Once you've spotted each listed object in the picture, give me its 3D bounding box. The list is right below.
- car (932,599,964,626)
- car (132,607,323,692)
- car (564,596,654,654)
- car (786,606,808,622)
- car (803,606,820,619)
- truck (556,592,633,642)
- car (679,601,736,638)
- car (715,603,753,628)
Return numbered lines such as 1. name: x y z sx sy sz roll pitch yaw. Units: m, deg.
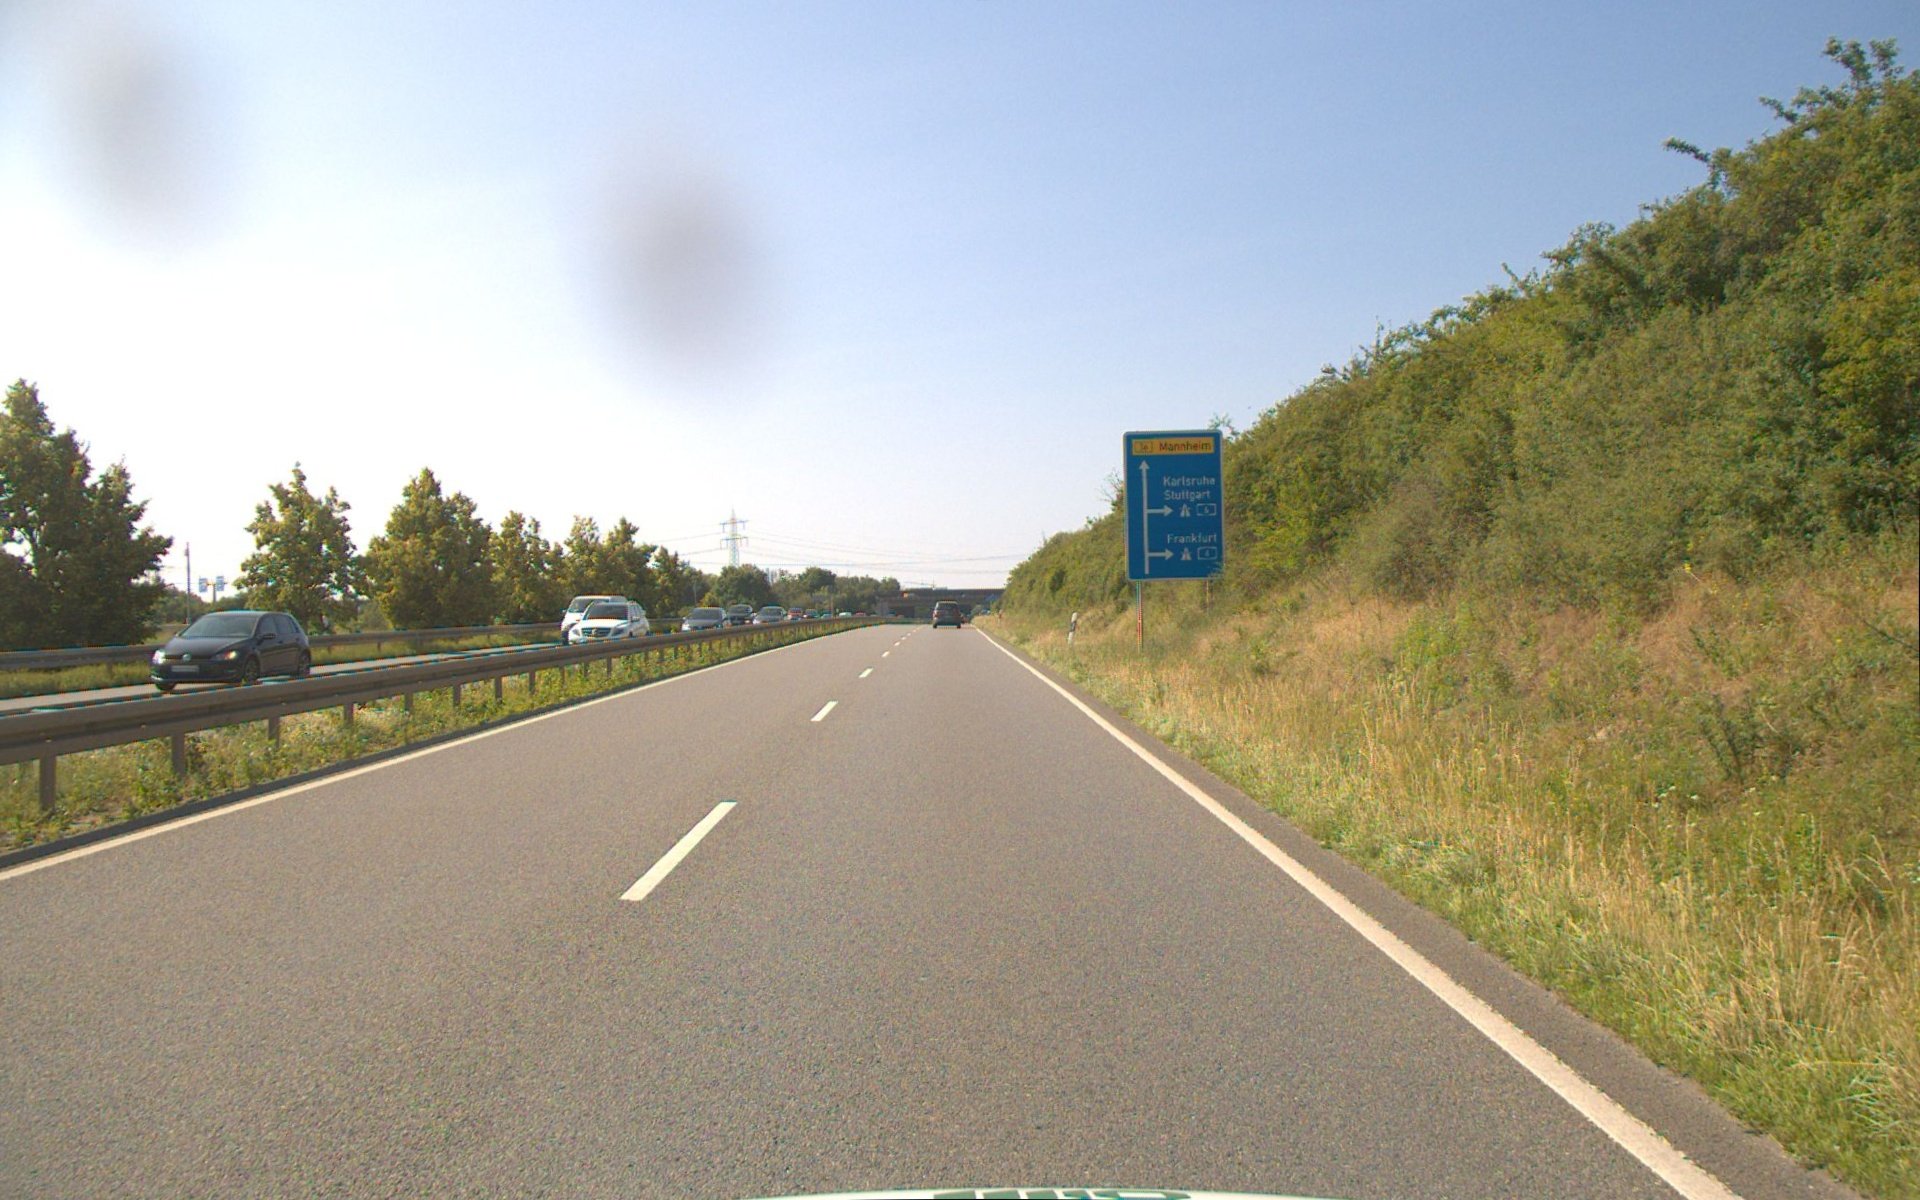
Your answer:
1. car: -0.729 0.800 104.896 1.811 1.673 4.001 -1 -1 2
2. car: -14.172 0.908 32.302 1.801 1.498 4.458 0 0 -1
3. car: -10.778 0.735 51.119 1.801 1.694 4.721 0 0 0
4. car: -17.146 1.438 174.273 1.806 1.621 4.773 1 0 0
5. car: -17.889 1.504 198.767 1.691 1.623 4.220 0 -1 0
6. truck: -14.366 0.637 65.283 1.883 1.872 5.291 0 1 -1
7. car: -10.792 0.819 70.916 1.802 1.471 4.037 2 0 -1
8. car: -14.735 0.987 107.875 1.775 1.569 4.454 -1 0 1
